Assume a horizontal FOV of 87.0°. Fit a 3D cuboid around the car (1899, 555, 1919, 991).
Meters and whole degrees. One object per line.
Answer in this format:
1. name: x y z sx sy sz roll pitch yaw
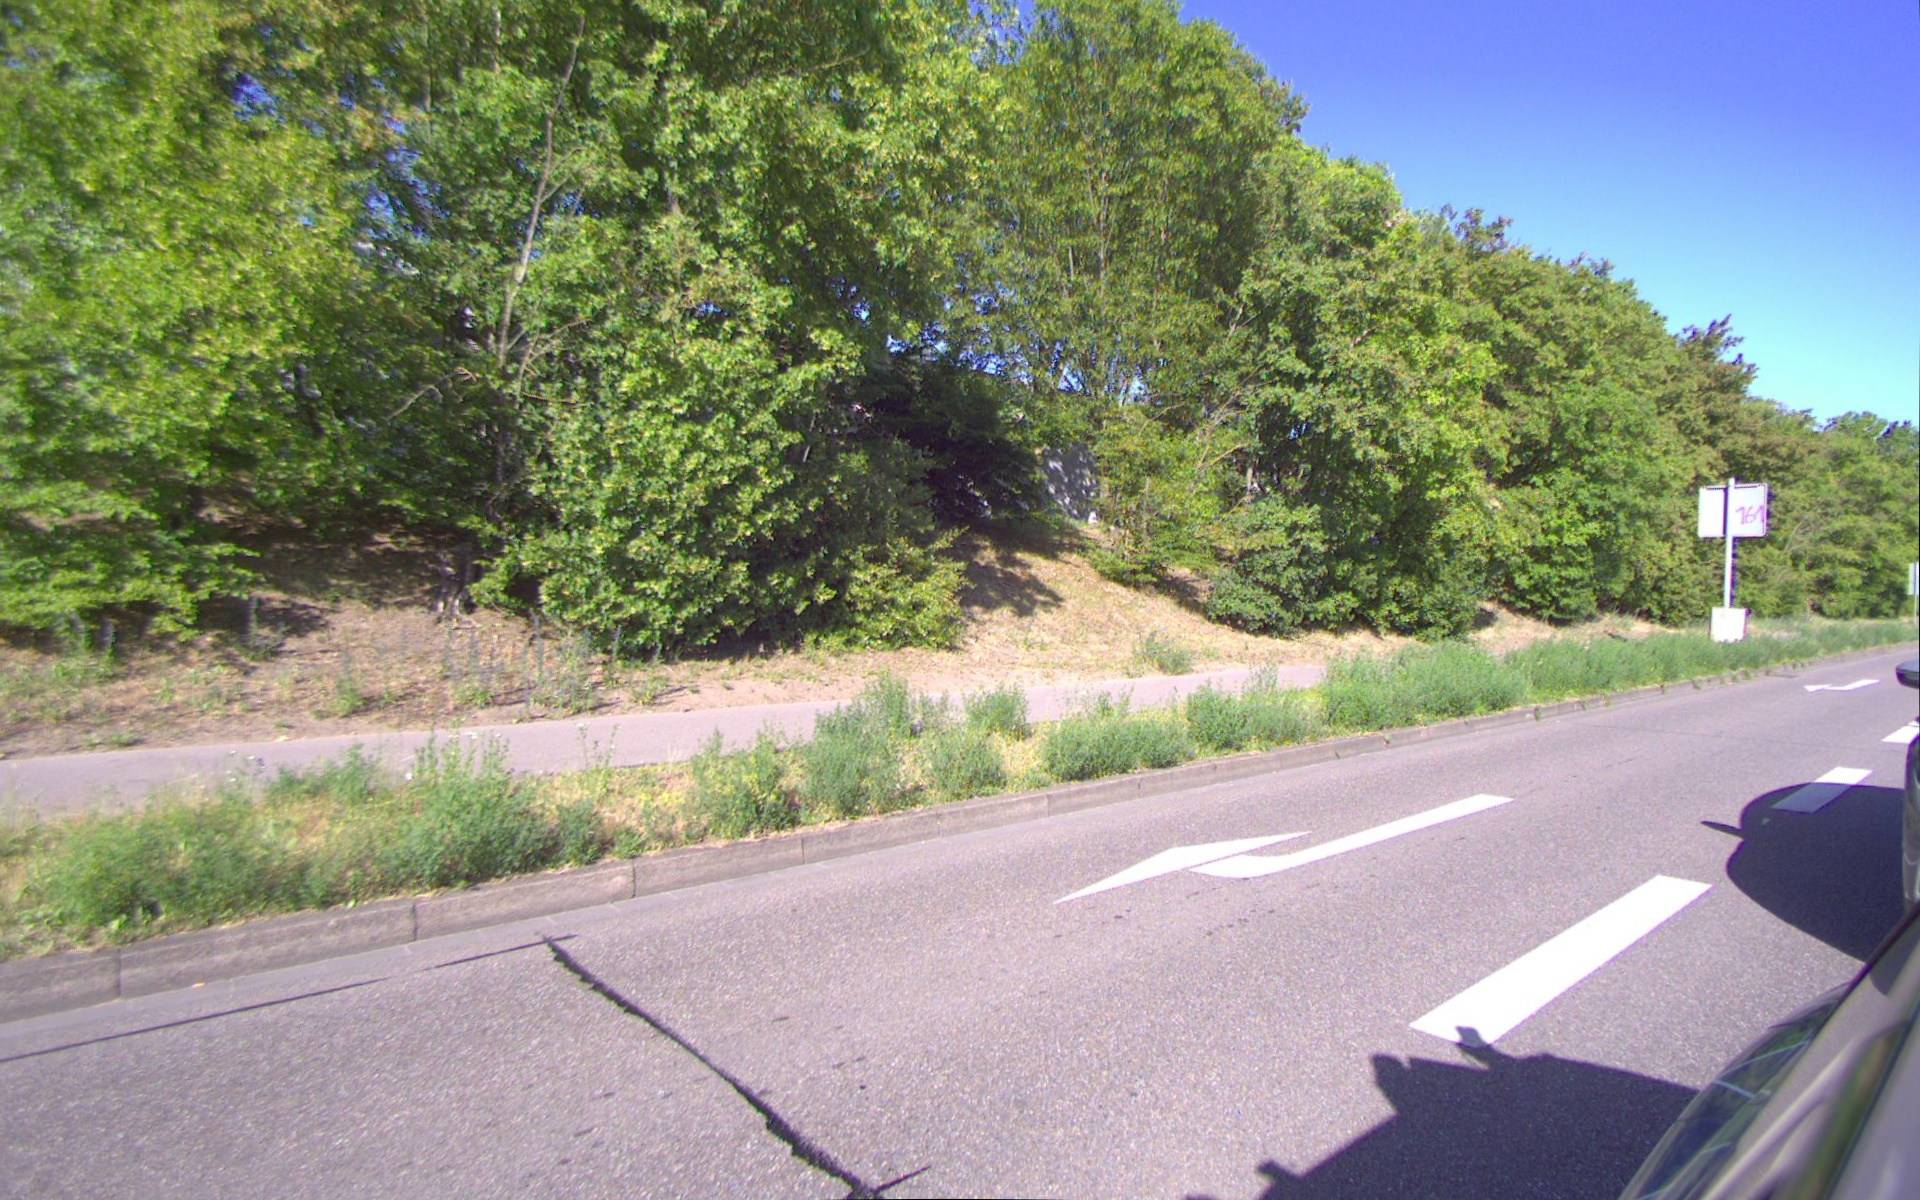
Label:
1. car: 5.583 0.655 4.345 3.863 1.617 1.869 0 0 -41
